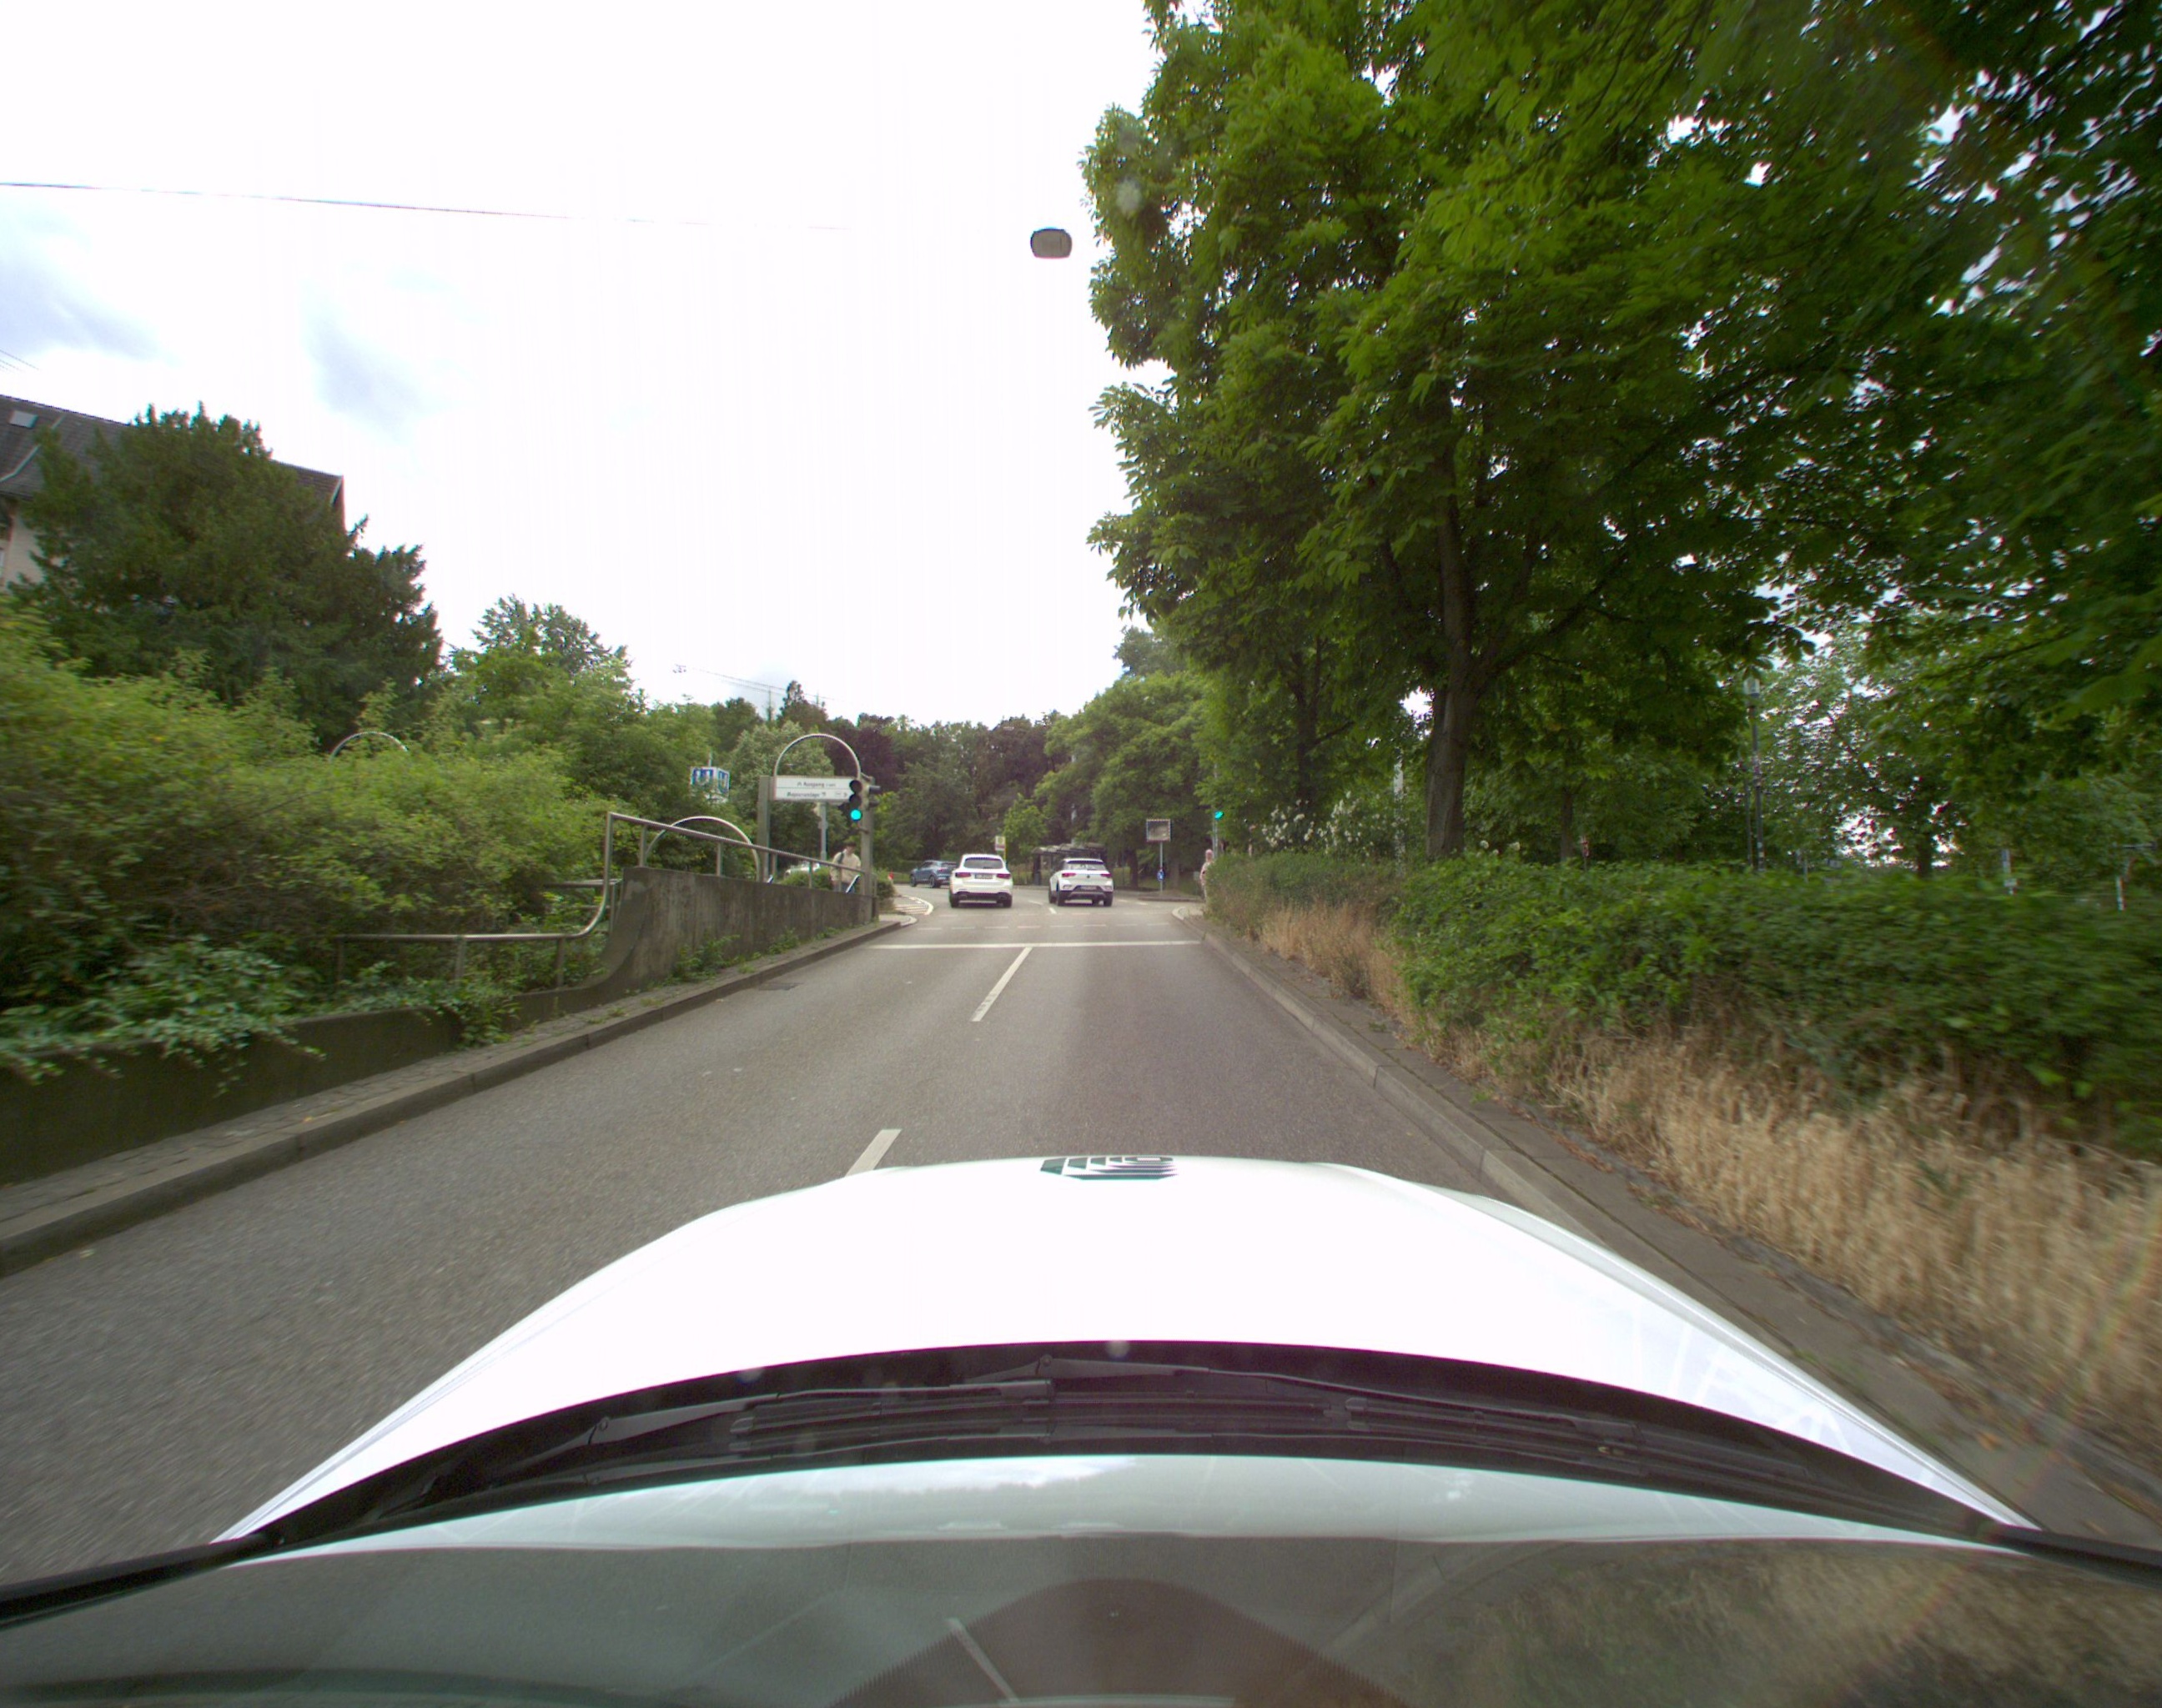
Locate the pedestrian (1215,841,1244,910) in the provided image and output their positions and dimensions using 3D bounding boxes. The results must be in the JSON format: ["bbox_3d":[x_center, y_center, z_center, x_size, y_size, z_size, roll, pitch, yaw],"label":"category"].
[{"bbox_3d":[3.793,0.554,20.800,0.612,1.712,0.728,-2,-1,5],"label":"pedestrian"}]

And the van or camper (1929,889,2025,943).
[{"bbox_3d":[36.513,2.538,33.156,4.485,1.978,1.871,5,-3,-32],"label":"van or camper"}]

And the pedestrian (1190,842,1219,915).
[{"bbox_3d":[2.958,0.576,19.562,0.612,1.712,0.728,-2,-1,5],"label":"pedestrian"}]

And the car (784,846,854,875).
[{"bbox_3d":[-15.847,0.431,49.119,2.267,1.519,4.255,7,-5,-44],"label":"car"}]

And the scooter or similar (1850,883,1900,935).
[{"bbox_3d":[19.972,1.375,20.505,0.458,1.248,1.327,1,-3,23],"label":"scooter or similar"}]

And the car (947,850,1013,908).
[{"bbox_3d":[-3.275,0.770,26.095,1.876,1.652,4.328,-2,-1,-8],"label":"car"}]

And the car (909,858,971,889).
[{"bbox_3d":[-8.096,1.079,46.549,1.875,1.632,3.916,3,-2,-36],"label":"car"}]

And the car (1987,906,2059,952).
[{"bbox_3d":[45.866,3.599,39.730,1.975,2.014,4.023,0,-2,45],"label":"car"}]

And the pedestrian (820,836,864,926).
[{"bbox_3d":[-5.006,0.560,17.078,0.701,1.861,0.615,-1,-1,8],"label":"pedestrian"}]

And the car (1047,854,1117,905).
[{"bbox_3d":[-0.041,0.840,27.313,1.863,1.556,3.883,1,-1,-8],"label":"car"}]
